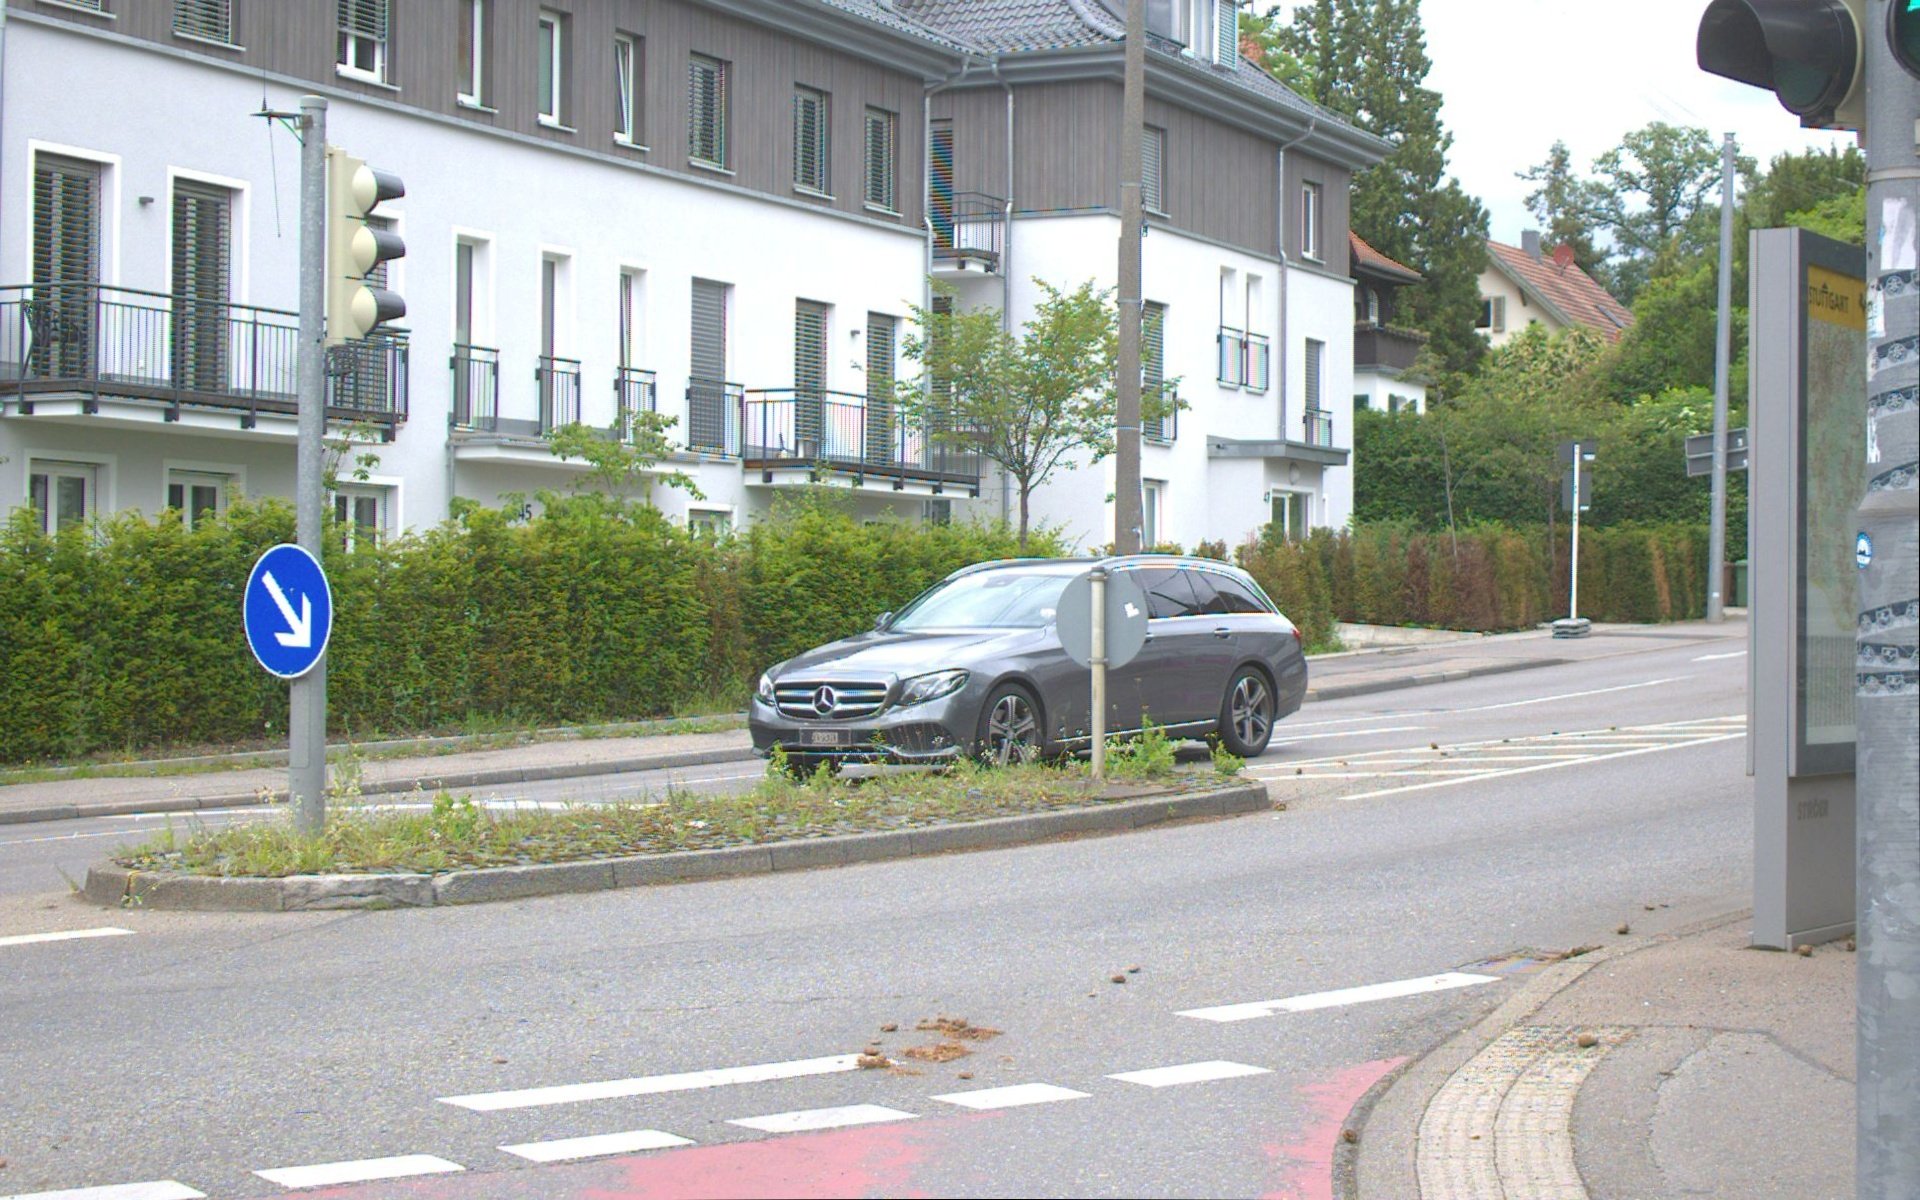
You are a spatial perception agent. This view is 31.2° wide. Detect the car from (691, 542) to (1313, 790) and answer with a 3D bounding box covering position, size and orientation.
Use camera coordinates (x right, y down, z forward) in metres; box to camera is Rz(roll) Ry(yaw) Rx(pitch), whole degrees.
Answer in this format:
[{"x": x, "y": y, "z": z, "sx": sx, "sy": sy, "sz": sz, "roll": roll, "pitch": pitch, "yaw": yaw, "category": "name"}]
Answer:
[{"x": 0.414, "y": 0.386, "z": 23.854, "sx": 1.829, "sy": 1.480, "sz": 4.738, "roll": -1, "pitch": 1, "yaw": 37, "category": "car"}]
